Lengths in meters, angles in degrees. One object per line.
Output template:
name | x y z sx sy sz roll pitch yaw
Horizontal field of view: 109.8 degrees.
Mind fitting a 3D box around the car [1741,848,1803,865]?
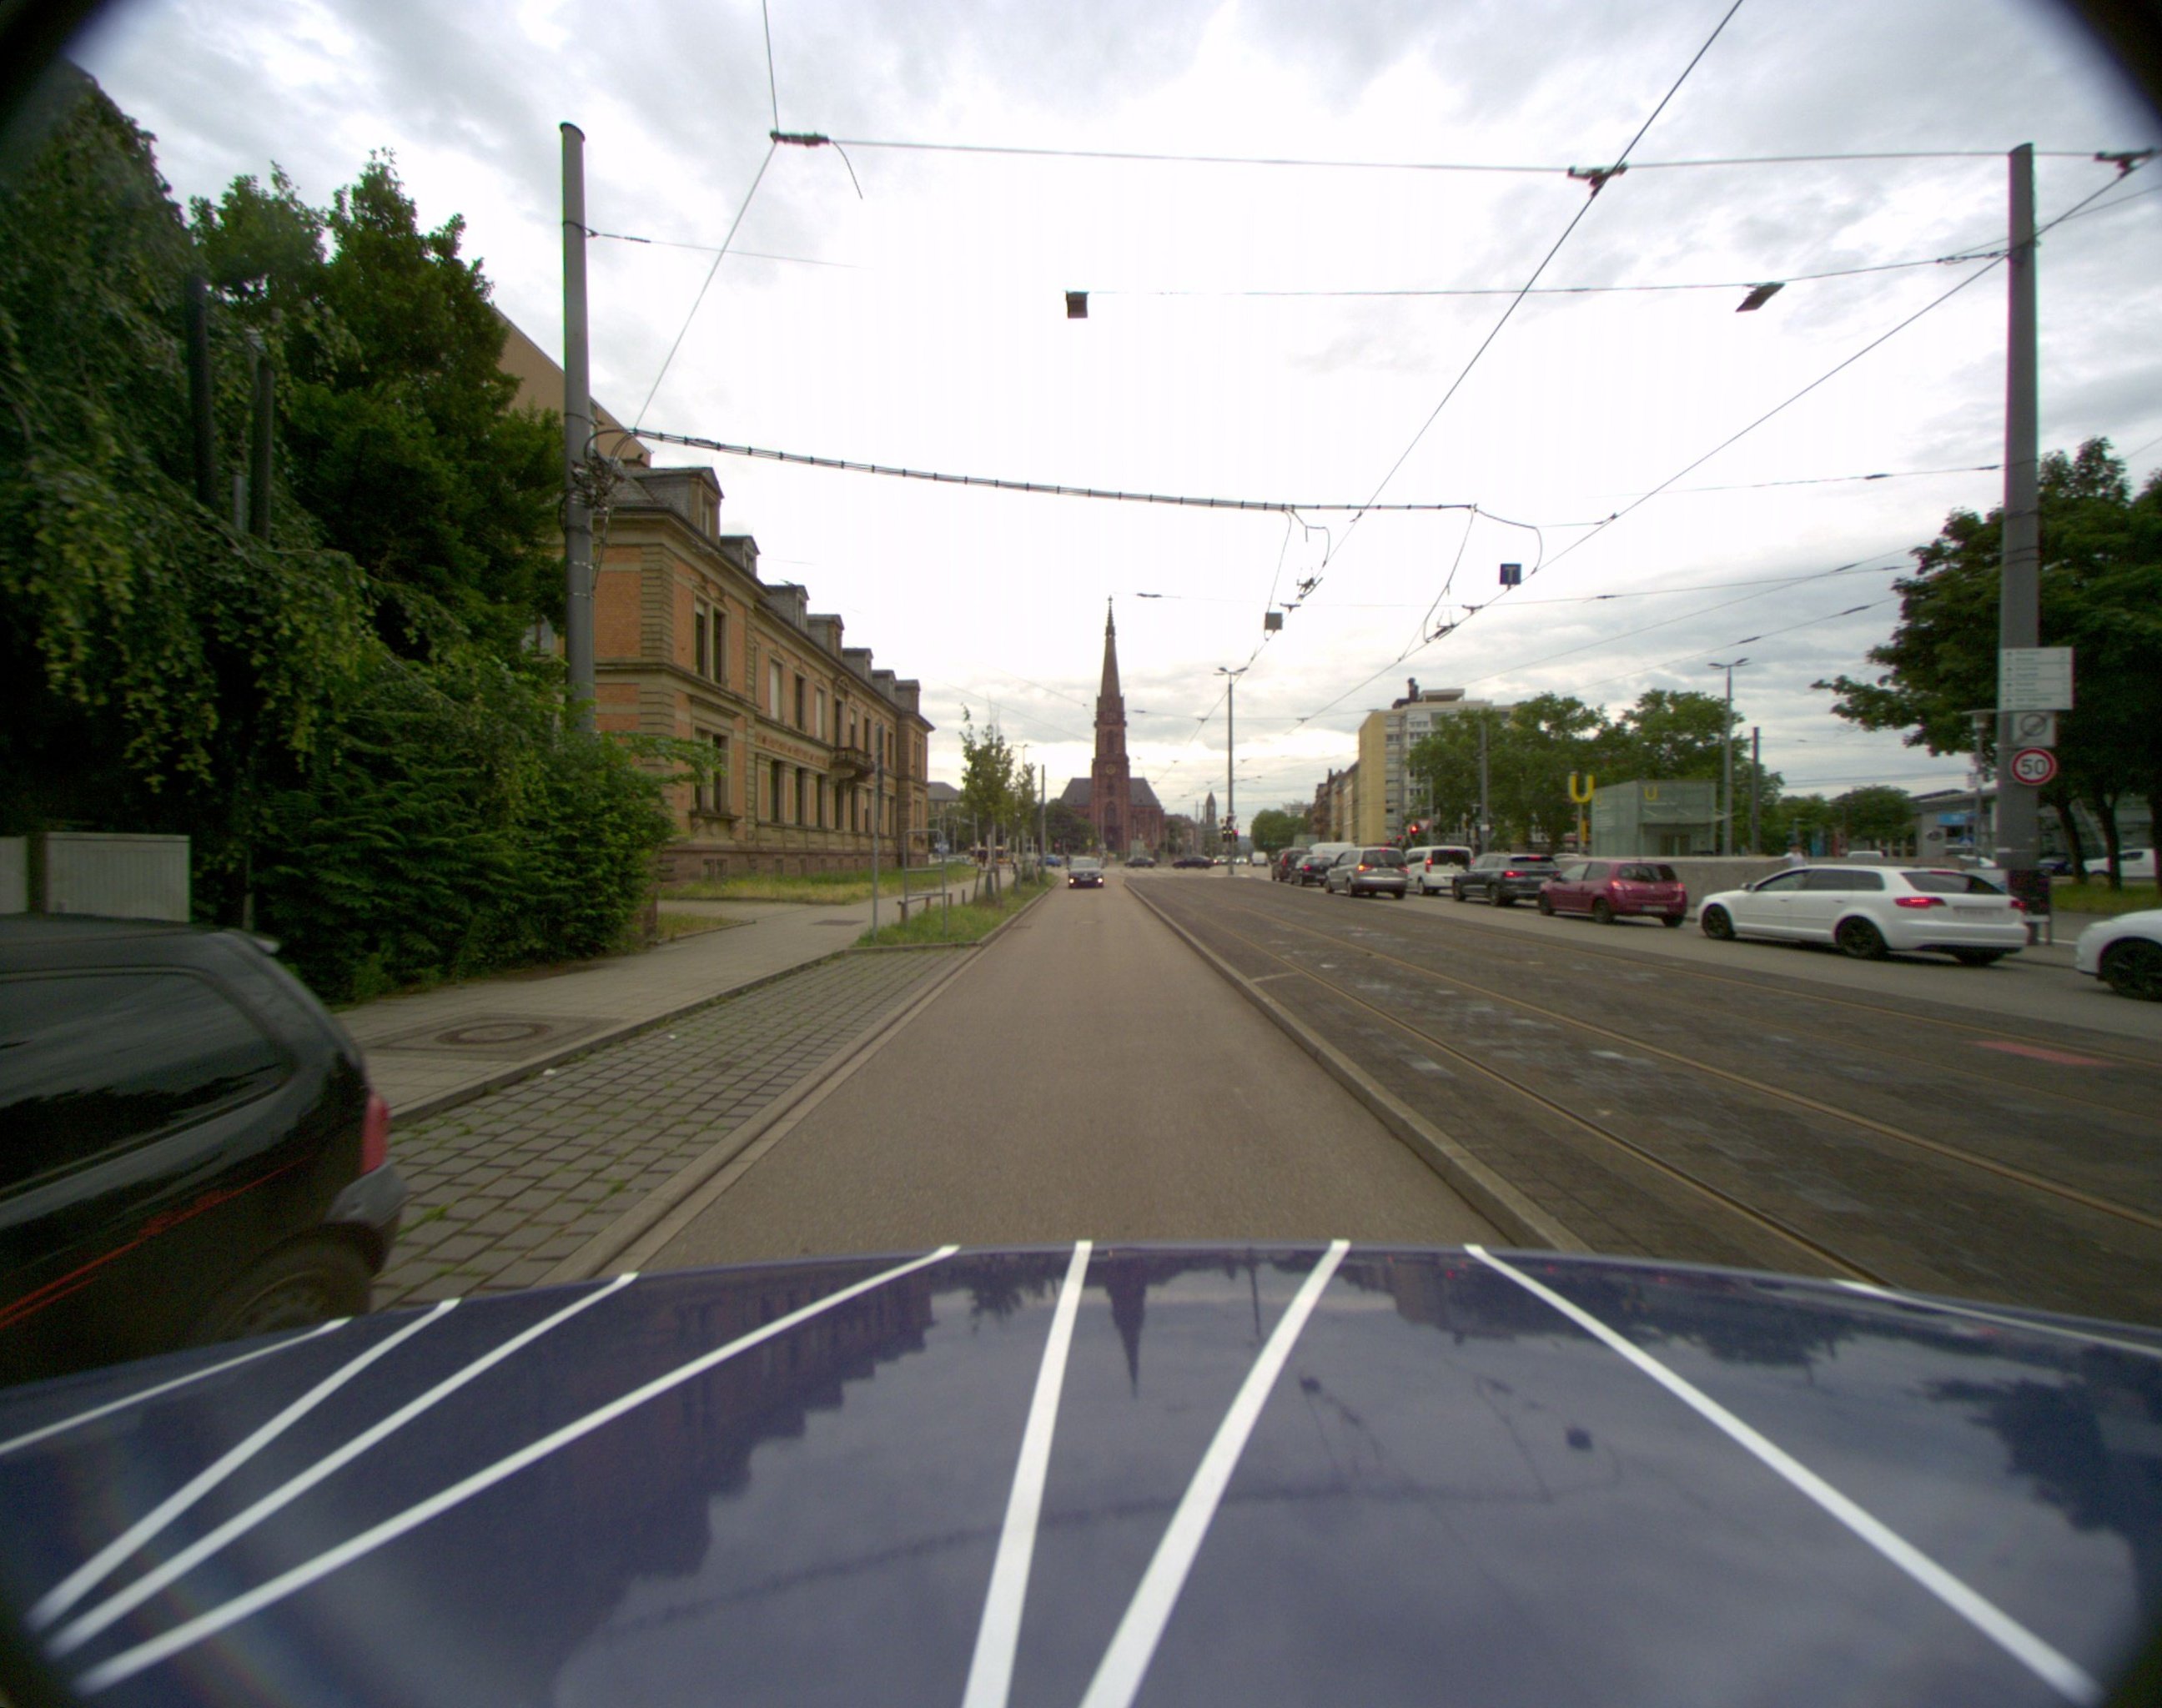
car | 58.857 0.228 64.749 1.644 1.412 3.727 0 0 -42

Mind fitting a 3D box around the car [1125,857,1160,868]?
car | 7.276 1.019 90.154 3.728 1.239 1.695 0 0 24

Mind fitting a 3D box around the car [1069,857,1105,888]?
car | 0.281 0.865 36.959 1.655 1.404 4.000 0 0 0

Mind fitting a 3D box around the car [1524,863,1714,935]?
car | 12.391 0.965 17.846 1.867 1.391 3.896 2 0 4

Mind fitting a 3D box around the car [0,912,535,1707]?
car | -2.864 0.956 0.830 1.641 1.425 3.930 2 0 1

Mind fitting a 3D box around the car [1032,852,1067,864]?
car | -4.083 0.544 98.615 4.050 1.484 2.003 -1 0 19

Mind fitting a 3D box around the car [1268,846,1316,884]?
car | 11.271 0.548 40.895 1.692 1.889 4.388 0 0 5

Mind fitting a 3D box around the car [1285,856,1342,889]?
car | 10.741 0.817 35.344 1.692 1.433 4.001 0 0 5

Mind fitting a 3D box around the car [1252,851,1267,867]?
car | 23.915 0.644 101.980 1.920 1.871 5.092 0 1 12

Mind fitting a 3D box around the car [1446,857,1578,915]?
car | 12.979 0.890 23.213 1.867 1.525 4.304 2 0 6

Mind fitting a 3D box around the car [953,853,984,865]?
car | -14.941 0.635 101.235 3.617 1.484 2.001 0 1 6

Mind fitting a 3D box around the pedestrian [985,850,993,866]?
pedestrian | -11.386 0.483 93.849 0.782 1.932 0.980 0 0 -22

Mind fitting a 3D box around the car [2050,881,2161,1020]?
car | 11.795 0.988 6.415 1.930 1.372 4.259 0 0 4

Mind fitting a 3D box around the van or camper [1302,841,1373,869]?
van or camper | 25.047 0.082 74.335 6.033 2.596 2.428 0 2 40

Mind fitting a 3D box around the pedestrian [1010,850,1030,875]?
pedestrian | -4.722 0.657 59.113 1.283 1.856 0.889 0 0 34

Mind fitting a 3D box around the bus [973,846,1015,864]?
bus | -15.739 0.123 136.382 2.869 3.060 11.990 -1 1 -30

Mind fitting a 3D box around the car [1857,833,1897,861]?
car | 59.724 -0.541 57.064 1.766 2.002 4.008 1 2 43

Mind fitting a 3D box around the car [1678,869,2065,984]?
car | 12.226 1.006 12.295 1.751 1.372 4.362 2 0 2

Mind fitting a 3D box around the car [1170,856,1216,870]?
car | 12.330 0.989 83.551 4.648 1.412 2.004 0 0 40

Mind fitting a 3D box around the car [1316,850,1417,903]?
car | 9.991 0.722 27.000 1.867 1.696 4.910 1 0 2

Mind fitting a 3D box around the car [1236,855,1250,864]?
car | 25.553 0.868 120.052 1.997 1.433 4.003 0 0 11

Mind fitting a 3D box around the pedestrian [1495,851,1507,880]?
pedestrian | 25.533 0.698 46.149 0.601 1.718 0.914 0 0 27

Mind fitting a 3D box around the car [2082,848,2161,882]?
car | 58.517 0.581 41.496 2.003 1.828 4.511 0 0 -33

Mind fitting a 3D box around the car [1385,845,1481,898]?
car | 13.630 0.621 29.777 1.867 1.905 5.103 0 0 6

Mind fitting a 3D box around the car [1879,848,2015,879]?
car | 54.262 0.570 47.712 2.168 1.845 5.433 0 0 -35

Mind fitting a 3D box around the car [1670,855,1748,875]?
car | 46.645 0.824 56.491 1.644 1.412 4.258 0 0 -42
